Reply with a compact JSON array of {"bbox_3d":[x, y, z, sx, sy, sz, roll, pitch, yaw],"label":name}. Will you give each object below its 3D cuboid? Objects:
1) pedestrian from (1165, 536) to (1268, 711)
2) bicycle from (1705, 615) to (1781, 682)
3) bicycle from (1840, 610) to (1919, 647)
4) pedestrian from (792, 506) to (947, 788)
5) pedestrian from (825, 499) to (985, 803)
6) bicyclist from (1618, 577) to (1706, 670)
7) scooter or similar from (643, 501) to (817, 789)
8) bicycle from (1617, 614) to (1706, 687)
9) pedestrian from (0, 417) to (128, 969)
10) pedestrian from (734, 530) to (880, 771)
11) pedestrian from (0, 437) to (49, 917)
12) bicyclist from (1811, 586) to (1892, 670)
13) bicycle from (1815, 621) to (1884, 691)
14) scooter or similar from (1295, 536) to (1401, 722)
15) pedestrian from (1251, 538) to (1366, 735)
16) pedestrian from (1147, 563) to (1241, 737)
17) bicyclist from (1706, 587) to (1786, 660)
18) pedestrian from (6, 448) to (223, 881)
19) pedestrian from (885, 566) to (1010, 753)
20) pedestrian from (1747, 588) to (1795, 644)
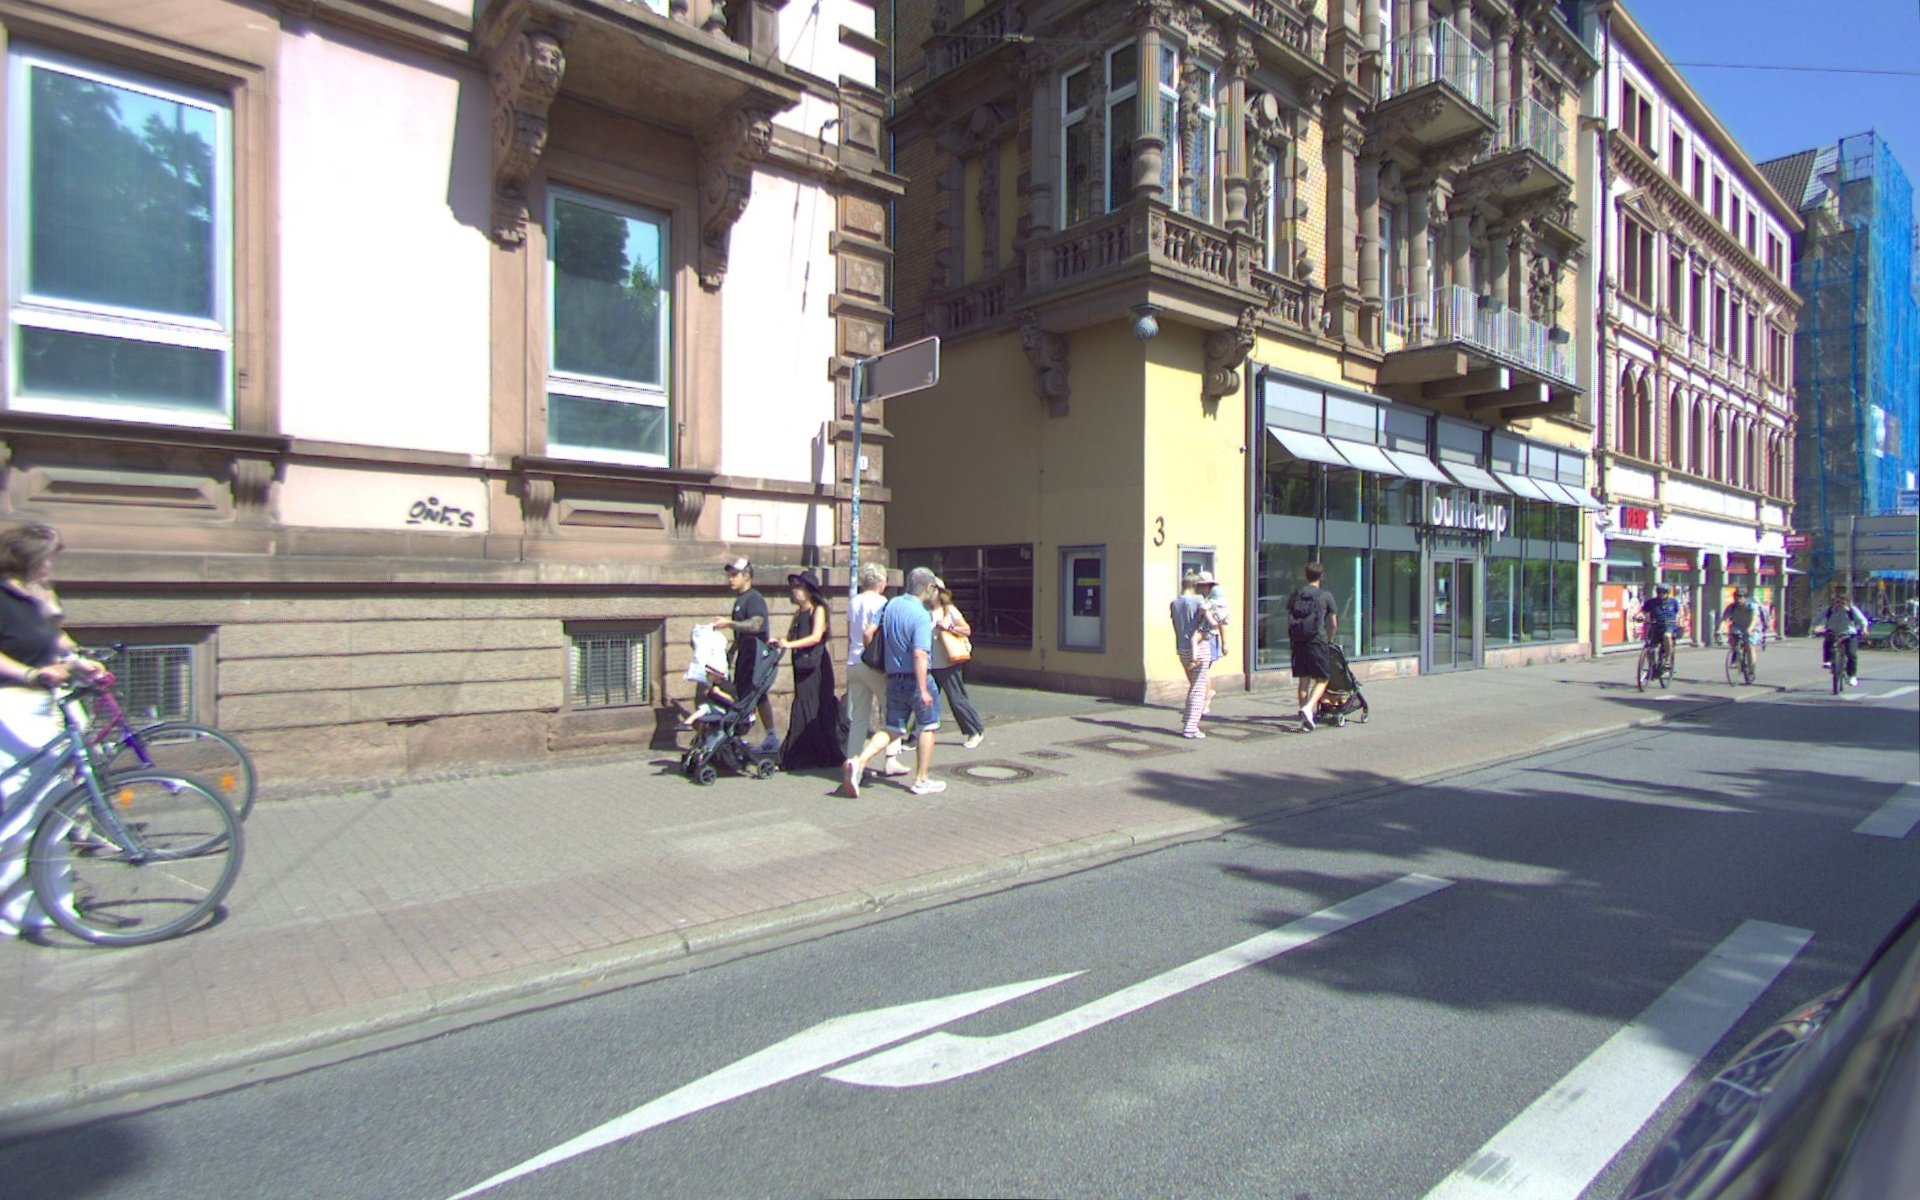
[{"bbox_3d":[3.128,0.260,12.358,0.801,2.038,0.813,1,3,-41],"label":"pedestrian"},{"bbox_3d":[14.234,0.844,18.376,2.453,1.096,0.643,0,1,-42],"label":"bicycle"},{"bbox_3d":[29.865,0.907,32.372,0.632,1.096,2.496,1,1,-36],"label":"bicycle"},{"bbox_3d":[-0.706,0.318,7.848,0.801,2.038,0.813,1,3,-41],"label":"pedestrian"},{"bbox_3d":[-0.405,0.331,7.347,0.801,2.039,0.813,1,1,-41],"label":"pedestrian"},{"bbox_3d":[11.570,0.365,16.666,1.211,1.454,0.912,1,1,-42],"label":"bicyclist"},{"bbox_3d":[-1.759,0.311,7.785,1.076,2.039,0.693,1,1,-42],"label":"scooter or similar"},{"bbox_3d":[11.639,0.800,16.754,2.453,1.096,0.643,0,1,-42],"label":"bicycle"},{"bbox_3d":[-3.827,0.326,3.988,0.801,2.038,0.813,1,3,-41],"label":"pedestrian"},{"bbox_3d":[-1.248,0.367,8.208,0.801,1.815,0.813,1,3,-41],"label":"pedestrian"},{"bbox_3d":[-4.445,0.317,4.397,0.687,2.038,0.661,1,2,-41],"label":"pedestrian"},{"bbox_3d":[15.677,0.467,17.787,1.211,1.411,0.912,1,1,-42],"label":"bicyclist"},{"bbox_3d":[15.666,0.949,17.808,2.454,1.096,0.642,0,1,-43],"label":"bicycle"},{"bbox_3d":[4.496,0.307,11.714,1.076,2.039,0.693,1,1,-42],"label":"scooter or similar"},{"bbox_3d":[3.796,0.361,11.028,0.801,2.038,0.813,1,2,-41],"label":"pedestrian"},{"bbox_3d":[2.407,0.481,10.440,0.617,1.716,0.707,-1,1,-38],"label":"pedestrian"},{"bbox_3d":[14.188,0.406,18.266,1.211,1.250,0.912,1,1,-42],"label":"bicyclist"},{"bbox_3d":[-4.434,0.286,5.326,0.801,2.038,0.813,1,3,-41],"label":"pedestrian"},{"bbox_3d":[-0.116,0.510,9.377,0.801,1.622,0.813,1,0,-41],"label":"pedestrian"},{"bbox_3d":[24.623,0.473,30.720,1.211,1.621,0.912,1,1,-42],"label":"pedestrian"}]
